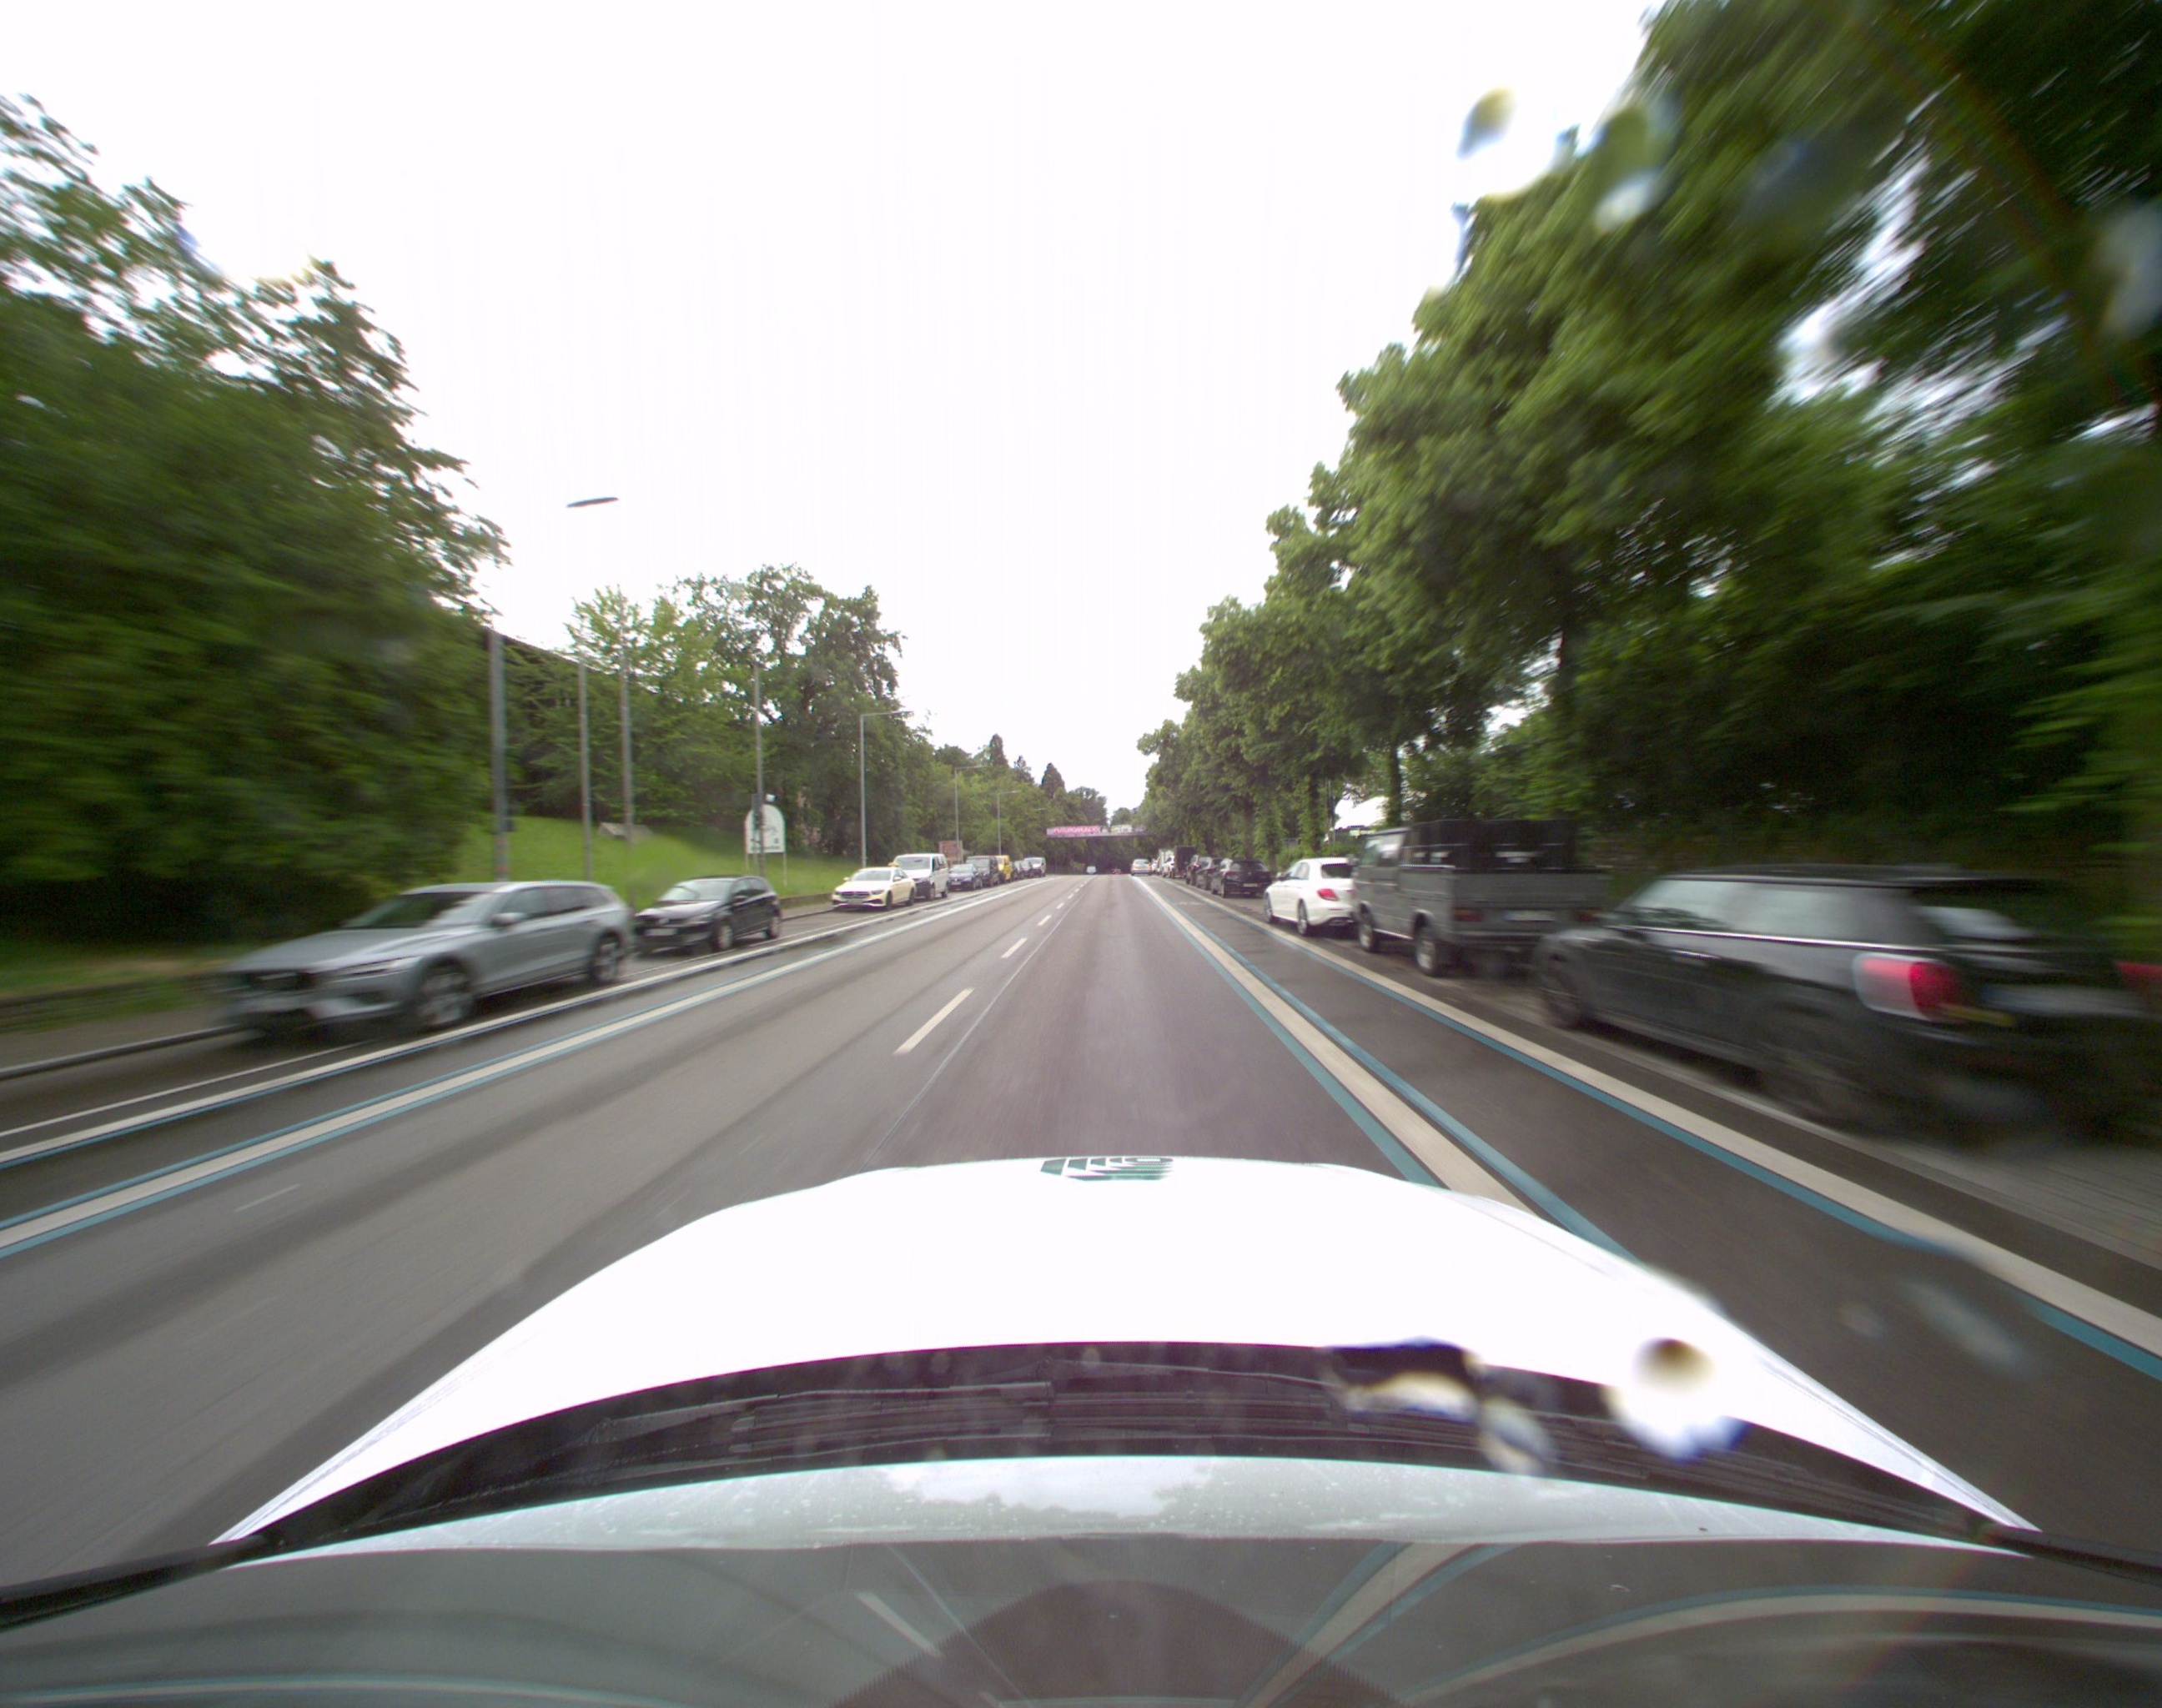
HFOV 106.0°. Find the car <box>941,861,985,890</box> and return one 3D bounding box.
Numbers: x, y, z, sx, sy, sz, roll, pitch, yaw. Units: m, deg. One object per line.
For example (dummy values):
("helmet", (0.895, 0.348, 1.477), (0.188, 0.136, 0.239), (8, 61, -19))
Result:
("car", (-6.535, 1.149, 45.526), (1.725, 1.390, 4.371), (-2, 1, 1))

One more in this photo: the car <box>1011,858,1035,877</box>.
("car", (-5.256, 1.217, 73.740), (1.864, 1.542, 4.053), (-2, 1, -1))

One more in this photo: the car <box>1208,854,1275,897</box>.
("car", (5.948, 0.767, 30.652), (1.725, 1.463, 4.277), (-1, 0, 0))

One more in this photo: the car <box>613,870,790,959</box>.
("car", (-7.544, 1.123, 16.663), (1.690, 1.437, 4.053), (-2, 1, -1))

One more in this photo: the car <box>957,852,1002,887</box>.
("car", (-6.266, 0.910, 50.987), (1.983, 1.946, 5.144), (-2, 1, 1))

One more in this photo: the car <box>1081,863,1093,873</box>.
("car", (0.943, 2.317, 130.527), (1.863, 1.473, 4.052), (-2, -2, -1))

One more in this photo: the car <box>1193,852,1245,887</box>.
("car", (6.221, 0.677, 37.099), (1.725, 1.463, 4.072), (-1, 0, 0))

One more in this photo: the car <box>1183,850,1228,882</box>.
("car", (6.463, 0.619, 42.574), (1.725, 1.583, 4.154), (0, 0, 0))

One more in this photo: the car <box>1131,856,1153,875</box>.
("car", (5.345, 1.025, 72.151), (1.724, 1.583, 4.038), (-2, 0, 2))

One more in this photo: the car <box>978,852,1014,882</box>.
("car", (-5.947, 0.875, 57.244), (1.876, 1.945, 4.827), (-2, 1, 1))

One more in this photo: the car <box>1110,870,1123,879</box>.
("car", (6.404, 3.657, 146.636), (2.134, 1.492, 4.496), (-1, 0, -1))

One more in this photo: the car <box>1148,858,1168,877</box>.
("car", (7.287, 1.293, 77.503), (1.723, 1.684, 4.048), (-2, 0, 3))

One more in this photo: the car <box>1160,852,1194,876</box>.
("car", (6.922, 0.694, 58.890), (1.727, 1.583, 4.150), (-2, 0, -3))

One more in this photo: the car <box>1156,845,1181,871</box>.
("car", (7.622, 0.344, 71.376), (1.881, 2.127, 4.048), (-2, 0, 3))

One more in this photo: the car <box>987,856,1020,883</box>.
("car", (-5.924, 1.177, 62.328), (1.983, 1.893, 4.056), (-2, 1, 1))

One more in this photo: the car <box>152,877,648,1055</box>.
("car", (-7.595, 1.107, 9.940), (2.070, 1.482, 4.673), (-1, 0, 0))

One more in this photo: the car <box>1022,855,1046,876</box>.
("car", (-4.617, 1.134, 81.170), (1.749, 1.931, 4.198), (-2, 1, 5))

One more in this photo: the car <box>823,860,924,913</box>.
("car", (-7.226, 1.078, 28.898), (1.982, 1.605, 4.989), (-2, 0, 3))

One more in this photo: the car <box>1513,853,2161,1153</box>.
("car", (4.855, 0.725, 5.849), (1.600, 1.453, 3.748), (0, 0, 1))

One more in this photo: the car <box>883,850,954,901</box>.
("car", (-6.881, 0.845, 35.053), (1.906, 1.931, 4.929), (-2, 1, 1))

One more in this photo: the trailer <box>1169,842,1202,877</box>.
("trailer", (6.999, 0.349, 54.772), (1.876, 2.166, 3.811), (-2, 0, 3))

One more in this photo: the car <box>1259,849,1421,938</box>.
("car", (5.013, 0.688, 16.549), (1.783, 1.543, 4.889), (0, 0, 0))

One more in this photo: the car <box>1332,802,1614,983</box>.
("car", (5.190, 0.433, 11.632), (1.918, 2.022, 4.666), (-1, 0, 2))

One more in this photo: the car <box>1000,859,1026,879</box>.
("car", (-5.619, 1.227, 67.825), (1.880, 1.451, 3.981), (-2, 1, -1))

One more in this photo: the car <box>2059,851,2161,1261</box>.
("car", (4.583, 0.720, 1.087), (1.679, 1.453, 4.168), (0, 0, 2))

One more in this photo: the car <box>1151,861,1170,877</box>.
("car", (8.153, 1.504, 83.561), (1.723, 1.462, 4.048), (-2, 0, 3))
